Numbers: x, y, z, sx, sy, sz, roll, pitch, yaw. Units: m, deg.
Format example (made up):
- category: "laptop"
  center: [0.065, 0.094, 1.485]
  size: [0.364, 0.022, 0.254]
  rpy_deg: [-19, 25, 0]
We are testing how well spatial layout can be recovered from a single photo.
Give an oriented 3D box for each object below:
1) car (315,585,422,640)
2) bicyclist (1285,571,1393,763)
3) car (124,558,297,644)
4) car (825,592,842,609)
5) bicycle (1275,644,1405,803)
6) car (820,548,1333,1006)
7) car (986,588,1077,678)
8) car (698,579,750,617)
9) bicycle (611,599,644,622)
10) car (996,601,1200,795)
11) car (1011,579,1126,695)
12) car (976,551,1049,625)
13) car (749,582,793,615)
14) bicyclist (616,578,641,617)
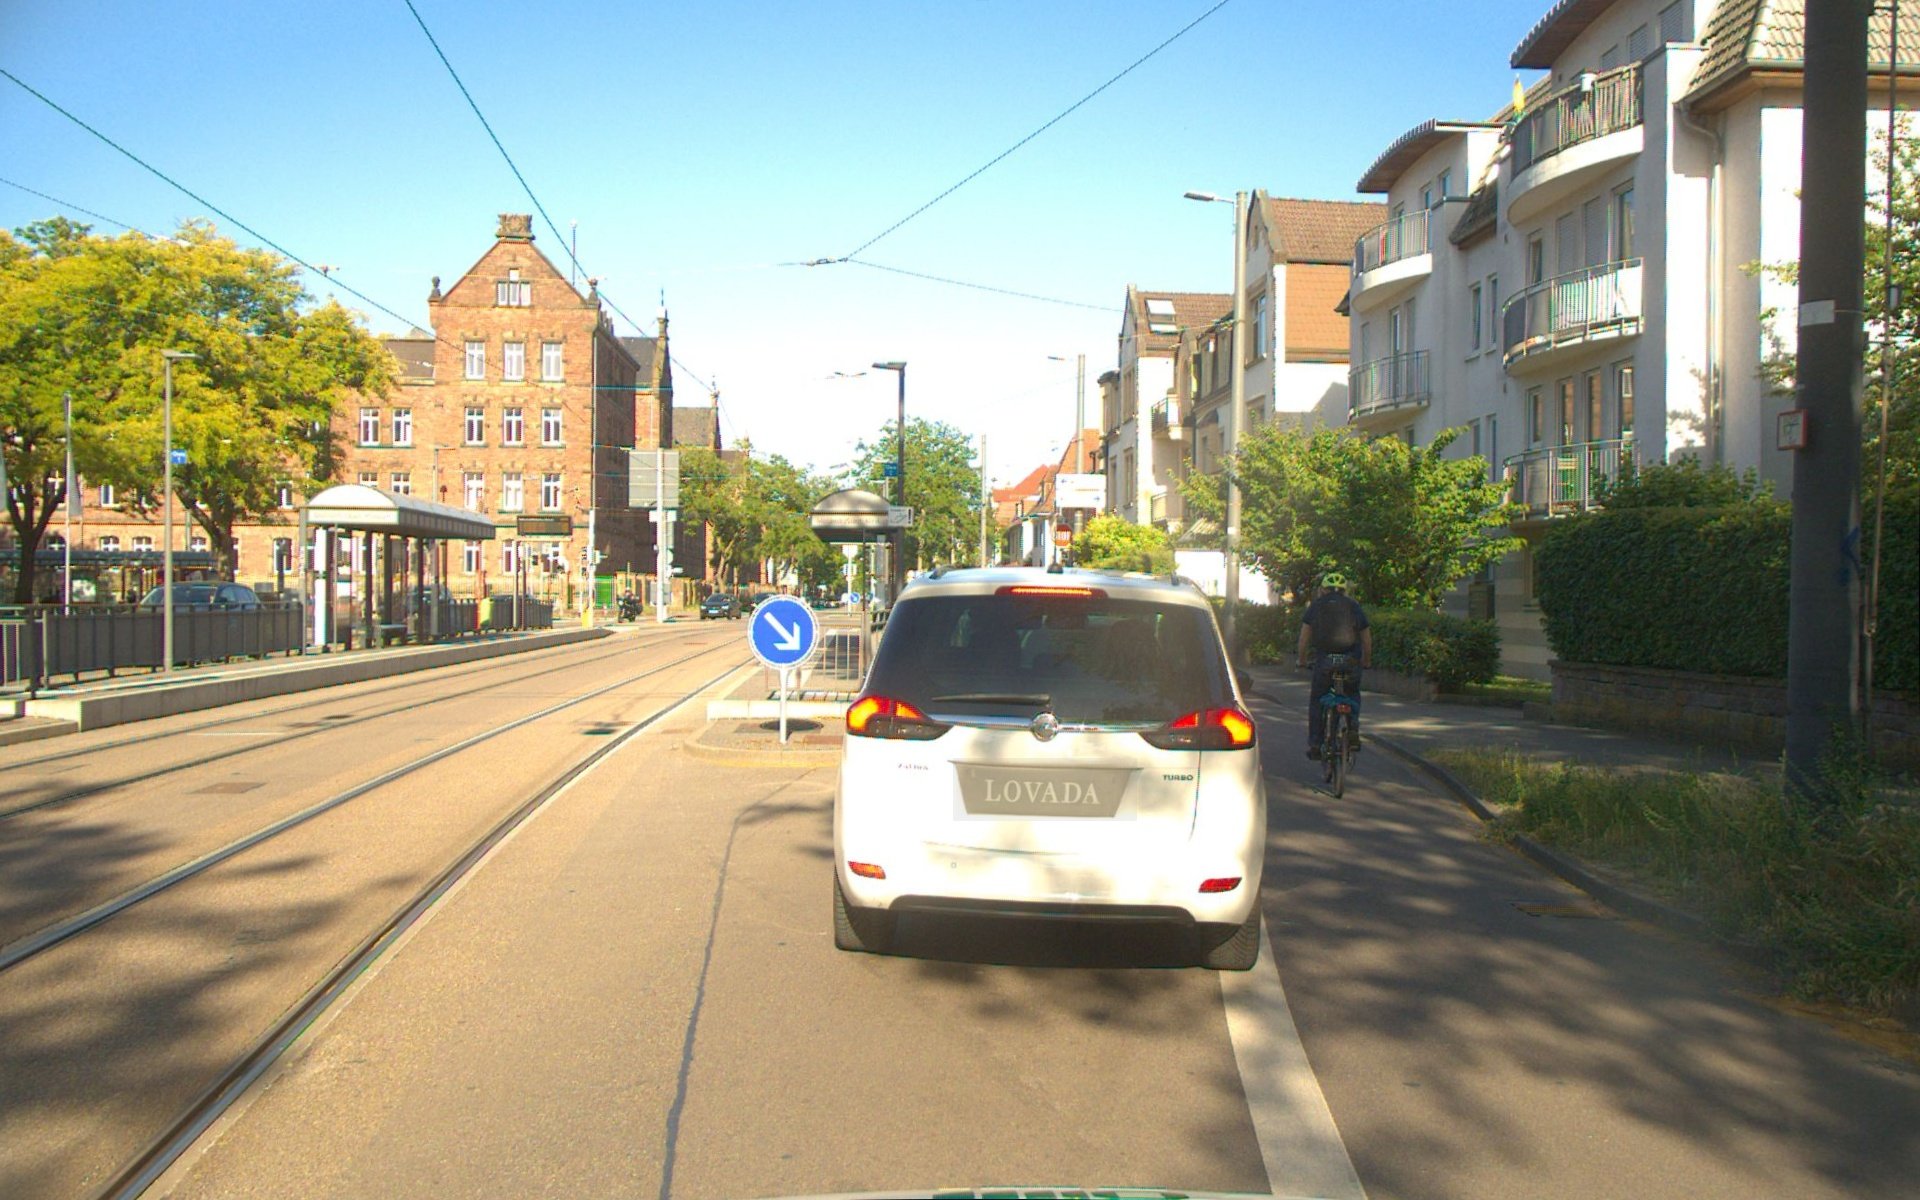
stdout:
- category: "car"
  center: [-16.601, 0.357, 46.659]
  size: [1.791, 1.471, 4.322]
  rpy_deg: [1, -1, -5]
- category: "bicyclist"
  center: [3.118, 0.532, 13.679]
  size: [0.630, 1.514, 1.115]
  rpy_deg: [1, 0, 0]
- category: "car"
  center: [-15.389, 0.036, 34.211]
  size: [1.791, 1.645, 4.324]
  rpy_deg: [1, -1, -3]
- category: "car"
  center: [-16.250, 0.044, 212.005]
  size: [1.955, 2.049, 3.994]
  rpy_deg: [1, 0, -6]
- category: "bicycle"
  center: [3.112, 0.978, 13.712]
  size: [0.629, 1.163, 1.902]
  rpy_deg: [0, 0, 0]
- category: "car"
  center: [0.581, 0.631, 8.075]
  size: [1.838, 1.613, 4.002]
  rpy_deg: [2, 0, 5]
- category: "car"
  center: [1.417, 0.631, 33.977]
  size: [1.563, 1.663, 3.900]
  rpy_deg: [2, 0, -1]
- category: "car"
  center: [-13.059, -0.111, 91.822]
  size: [1.951, 2.049, 4.002]
  rpy_deg: [1, 0, 6]
- category: "bicycle"
  center: [-15.036, 0.477, 74.910]
  size: [0.710, 0.982, 2.062]
  rpy_deg: [0, 1, 11]
- category: "car"
  center: [1.227, 0.762, 14.783]
  size: [1.536, 1.426, 3.786]
  rpy_deg: [2, 0, 5]
- category: "car"
  center: [1.642, 0.528, 26.068]
  size: [1.537, 1.643, 3.784]
  rpy_deg: [2, 0, 0]
- category: "car"
  center: [1.245, -0.297, 40.614]
  size: [1.563, 1.663, 3.900]
  rpy_deg: [2, 0, -1]
- category: "car"
  center: [-12.162, -0.066, 106.685]
  size: [1.951, 2.049, 4.002]
  rpy_deg: [1, 0, 6]
- category: "bicyclist"
  center: [-15.030, -0.125, 74.951]
  size: [0.710, 1.717, 1.170]
  rpy_deg: [0, 0, 11]
